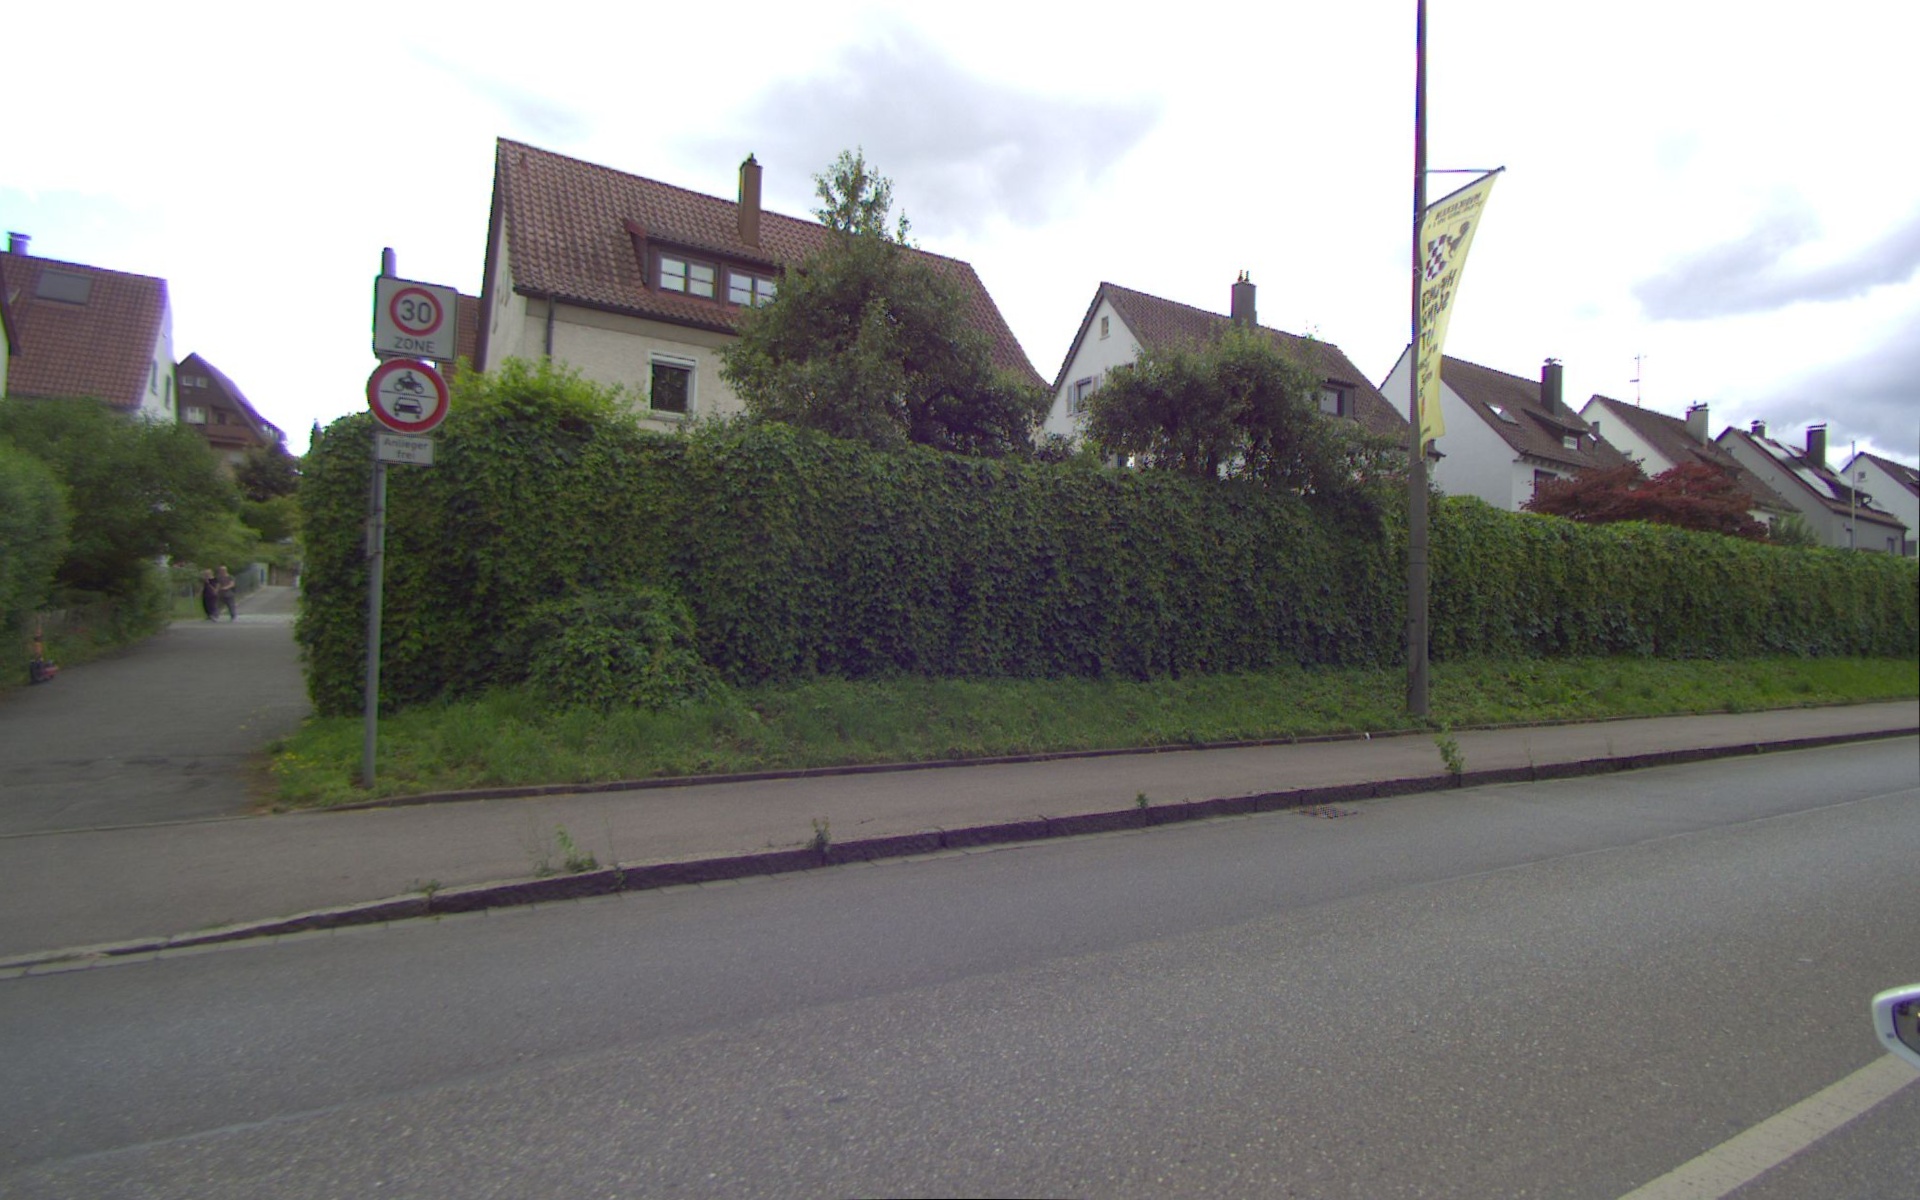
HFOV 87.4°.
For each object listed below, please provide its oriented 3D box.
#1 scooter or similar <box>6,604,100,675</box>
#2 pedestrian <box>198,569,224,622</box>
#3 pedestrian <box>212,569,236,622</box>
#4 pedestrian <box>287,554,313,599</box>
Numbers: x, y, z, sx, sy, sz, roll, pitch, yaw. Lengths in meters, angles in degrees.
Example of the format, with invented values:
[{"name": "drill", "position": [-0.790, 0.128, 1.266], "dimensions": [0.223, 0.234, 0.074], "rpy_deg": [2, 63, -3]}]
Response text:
[{"name": "scooter or similar", "position": [-15.450, 0.643, 17.160], "dimensions": [0.555, 1.122, 2.127], "rpy_deg": [1, -1, -25]}, {"name": "pedestrian", "position": [-23.537, -0.141, 31.559], "dimensions": [0.561, 1.635, 0.396], "rpy_deg": [1, -1, -27]}, {"name": "pedestrian", "position": [-22.889, -0.130, 31.228], "dimensions": [0.510, 1.635, 0.396], "rpy_deg": [1, -1, -27]}, {"name": "pedestrian", "position": [-27.086, -0.964, 41.231], "dimensions": [0.794, 1.821, 0.641], "rpy_deg": [1, -1, -27]}]
